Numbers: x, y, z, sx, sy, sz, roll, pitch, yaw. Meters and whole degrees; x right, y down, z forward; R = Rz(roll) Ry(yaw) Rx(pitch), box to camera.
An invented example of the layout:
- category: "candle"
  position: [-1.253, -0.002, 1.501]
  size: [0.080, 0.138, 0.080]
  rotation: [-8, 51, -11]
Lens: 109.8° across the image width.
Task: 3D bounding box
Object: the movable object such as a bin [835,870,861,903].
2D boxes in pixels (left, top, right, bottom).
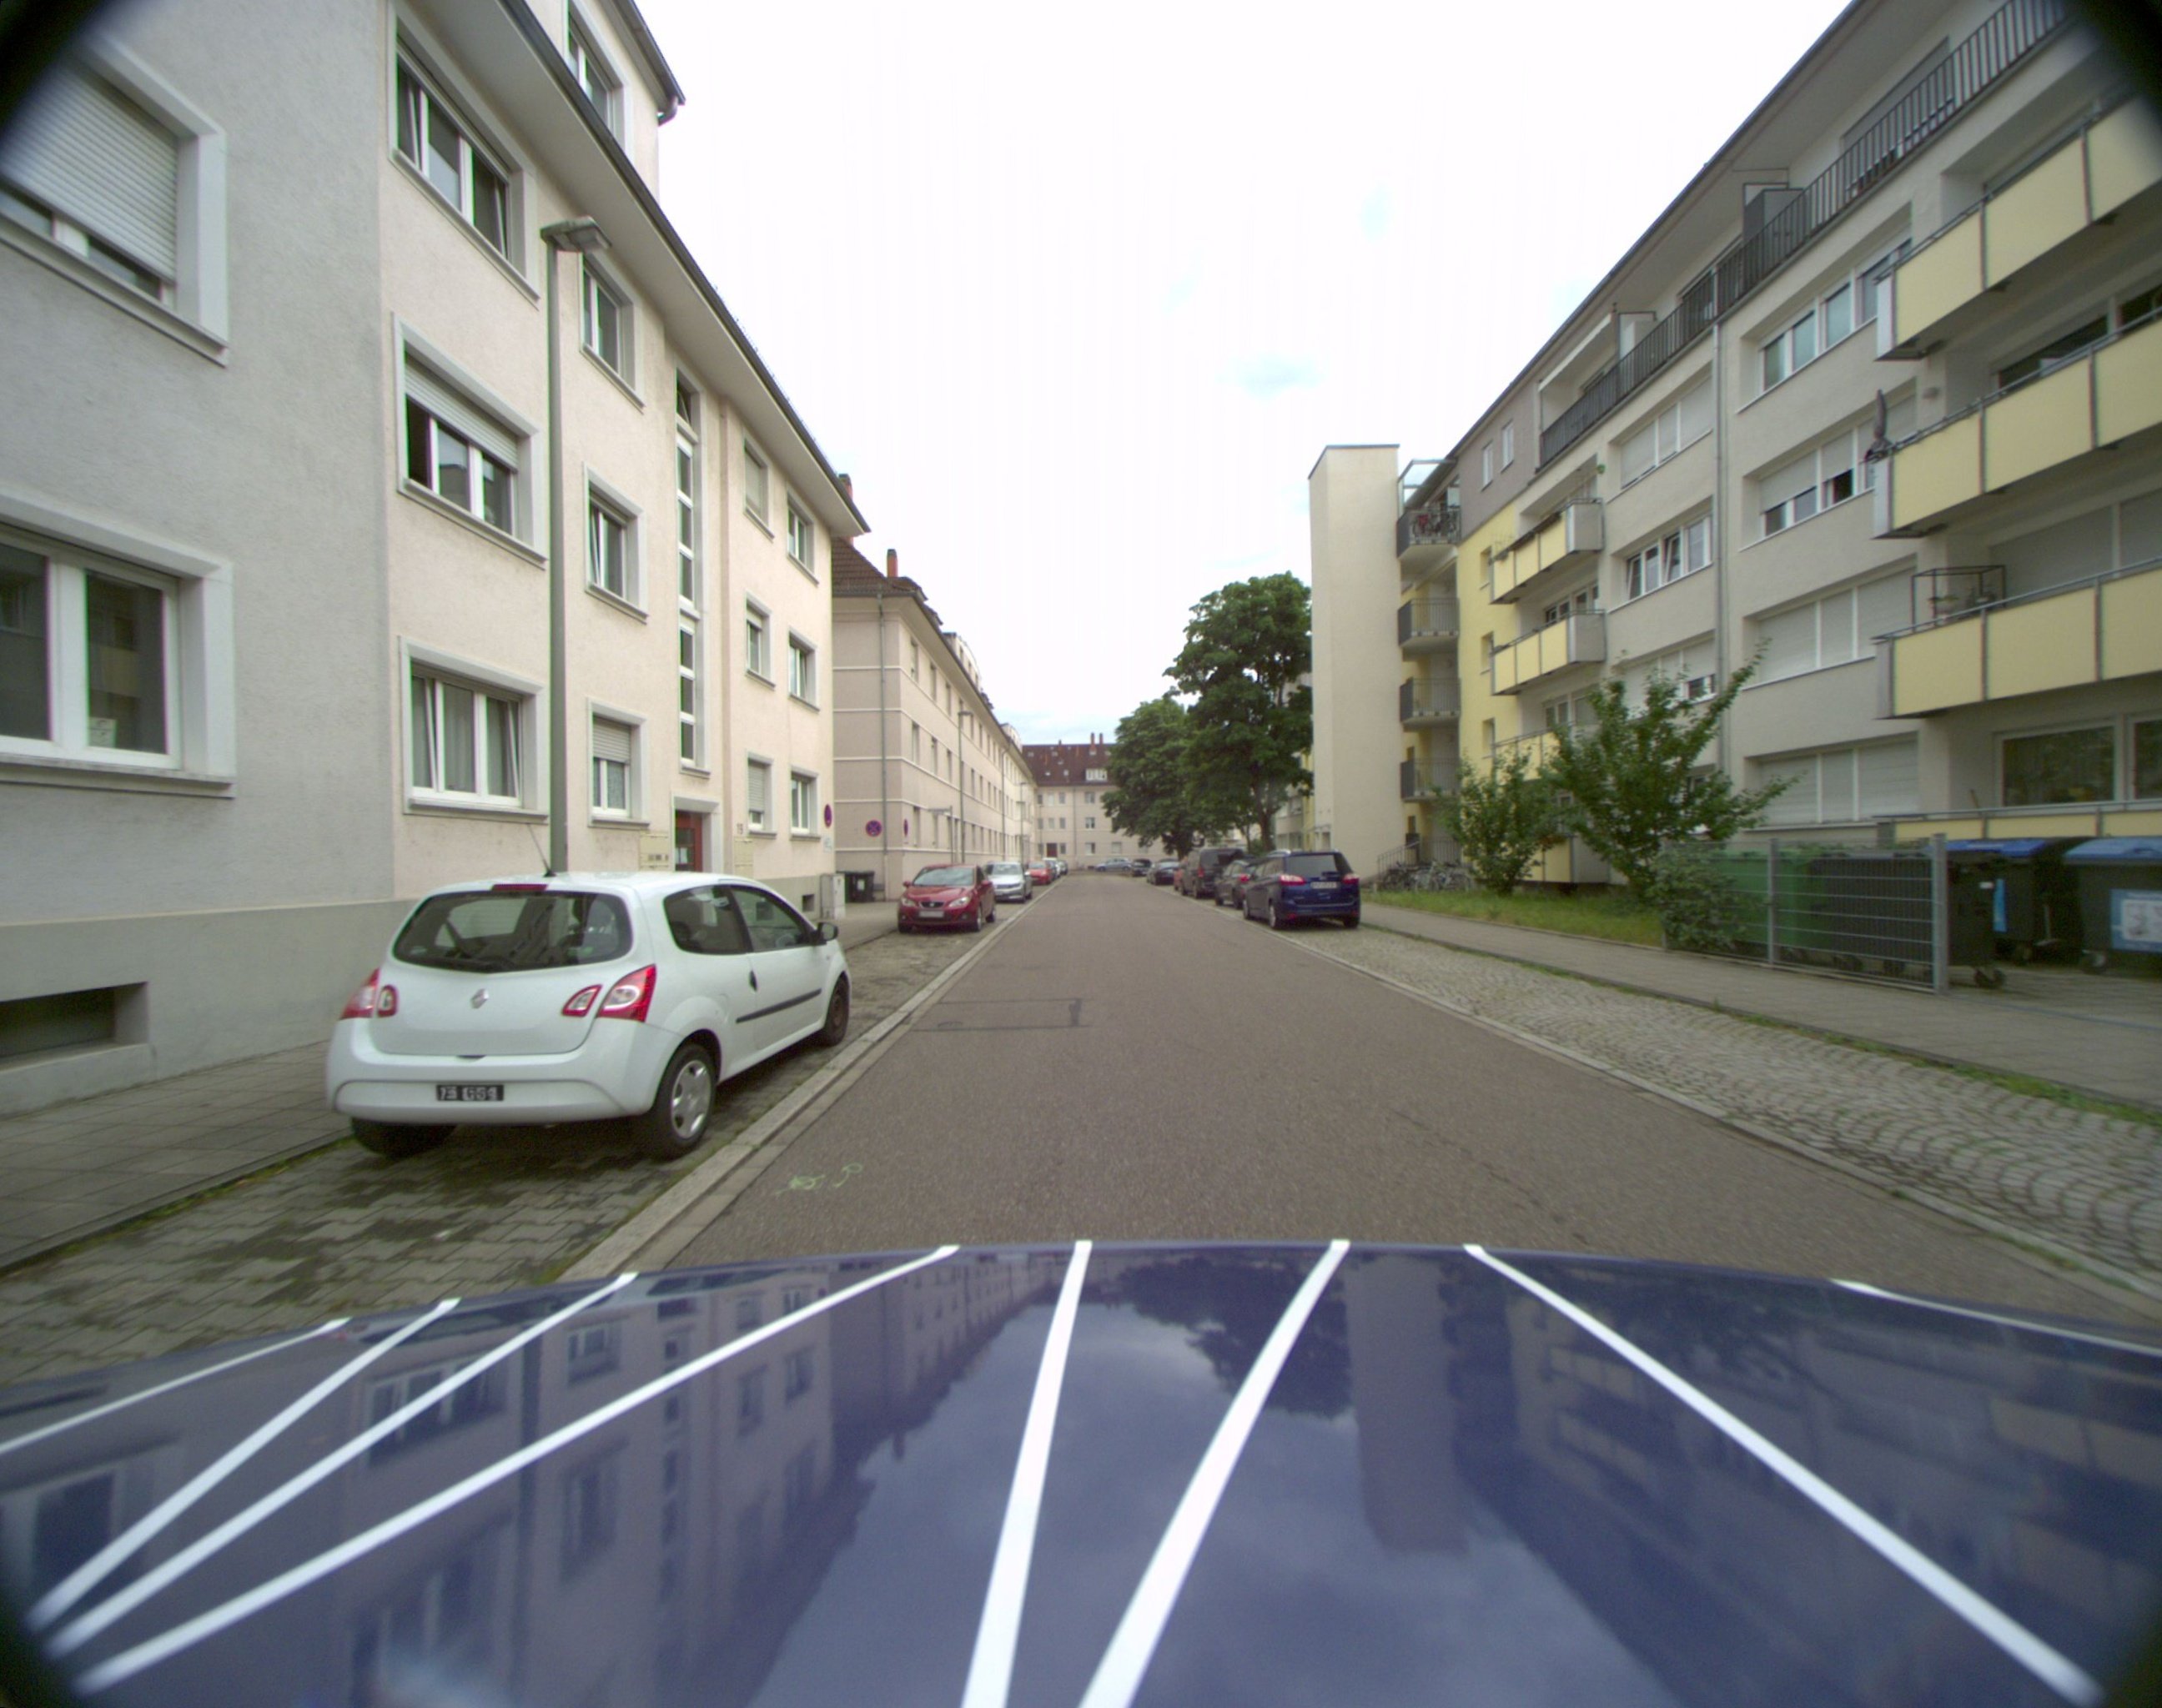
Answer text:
- category: "movable object such as a bin"
  position: [-7.560, 1.045, 24.665]
  size: [0.549, 1.036, 0.705]
  rotation: [-1, 1, 3]

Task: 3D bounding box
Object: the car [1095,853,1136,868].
- category: "car"
  position: [4.006, 0.755, 87.922]
  size: [4.545, 1.550, 1.565]
  rotation: [-1, 0, 5]

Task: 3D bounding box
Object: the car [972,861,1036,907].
- category: "car"
  position: [-2.648, 1.004, 27.039]
  size: [1.792, 1.455, 4.040]
  rotation: [-1, 0, 1]

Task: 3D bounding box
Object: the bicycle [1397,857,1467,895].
- category: "bicycle"
  position: [11.099, 0.692, 24.069]
  size: [1.855, 1.130, 0.717]
  rotation: [-1, 0, 7]

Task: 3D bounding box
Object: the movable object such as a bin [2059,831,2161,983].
- category: "movable object such as a bin"
  position: [10.845, 0.501, 7.367]
  size: [1.004, 1.438, 1.314]
  rotation: [-2, 1, 1]

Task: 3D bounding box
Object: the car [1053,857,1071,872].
- category: "car"
  position: [-1.766, 0.986, 73.089]
  size: [1.563, 1.334, 3.789]
  rotation: [-1, 0, 1]

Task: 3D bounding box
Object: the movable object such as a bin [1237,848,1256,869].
- category: "movable object such as a bin"
  position: [11.881, 0.349, 54.647]
  size: [1.184, 1.467, 0.889]
  rotation: [-1, 0, 4]

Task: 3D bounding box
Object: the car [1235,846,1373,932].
- category: "car"
  position: [4.882, 0.690, 17.302]
  size: [1.804, 1.617, 4.472]
  rotation: [-3, 0, 1]

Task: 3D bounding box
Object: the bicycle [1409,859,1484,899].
- category: "bicycle"
  position: [10.803, 0.722, 22.484]
  size: [1.857, 1.130, 0.716]
  rotation: [-1, 0, -2]

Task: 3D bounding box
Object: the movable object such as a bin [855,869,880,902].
- category: "movable object such as a bin"
  position: [-6.967, 1.019, 24.825]
  size: [0.549, 1.036, 0.705]
  rotation: [-1, 1, 3]

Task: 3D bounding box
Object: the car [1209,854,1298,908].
- category: "car"
  position: [5.158, 0.759, 23.201]
  size: [1.625, 1.437, 3.818]
  rotation: [-3, 0, -3]

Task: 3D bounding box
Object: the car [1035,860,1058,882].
- category: "car"
  position: [-2.346, 1.147, 51.872]
  size: [1.353, 1.404, 3.310]
  rotation: [-1, 0, 1]

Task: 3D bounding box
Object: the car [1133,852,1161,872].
- category: "car"
  position: [5.560, 0.673, 64.638]
  size: [2.000, 1.566, 4.209]
  rotation: [-3, 0, 1]

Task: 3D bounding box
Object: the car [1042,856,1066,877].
- category: "car"
  position: [-2.177, 0.995, 62.826]
  size: [1.764, 1.595, 3.956]
  rotation: [-1, 0, 1]

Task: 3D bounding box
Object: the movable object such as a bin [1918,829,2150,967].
- category: "movable object such as a bin"
  position: [10.928, 0.471, 8.791]
  size: [1.004, 1.438, 1.314]
  rotation: [-2, 1, 1]

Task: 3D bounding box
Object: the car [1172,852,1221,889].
- category: "car"
  position: [5.245, 0.710, 34.902]
  size: [1.625, 1.559, 3.613]
  rotation: [-1, 0, -1]

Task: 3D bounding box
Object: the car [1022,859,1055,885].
- category: "car"
  position: [-2.532, 1.049, 46.128]
  size: [1.758, 1.477, 3.773]
  rotation: [0, 0, 1]

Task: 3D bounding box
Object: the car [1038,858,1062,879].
- category: "car"
  position: [-2.324, 1.065, 57.176]
  size: [1.587, 1.500, 3.486]
  rotation: [-1, 0, 1]

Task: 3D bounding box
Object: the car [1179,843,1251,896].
- category: "car"
  position: [5.111, 0.571, 29.609]
  size: [1.891, 1.844, 4.785]
  rotation: [-2, 0, 0]

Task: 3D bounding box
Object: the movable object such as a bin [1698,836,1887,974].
- category: "movable object such as a bin"
  position: [8.426, 0.568, 9.082]
  size: [1.004, 1.492, 1.314]
  rotation: [-2, 1, 1]

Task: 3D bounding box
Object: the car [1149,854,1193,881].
- category: "car"
  position: [5.246, 0.751, 44.764]
  size: [1.919, 1.431, 4.434]
  rotation: [-3, 0, -1]

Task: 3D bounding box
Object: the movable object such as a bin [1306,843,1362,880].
- category: "movable object such as a bin"
  position: [11.096, 0.312, 33.476]
  size: [1.617, 1.515, 2.541]
  rotation: [-1, 0, 0]

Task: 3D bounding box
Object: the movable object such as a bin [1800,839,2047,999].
- category: "movable object such as a bin"
  position: [8.375, 0.595, 7.648]
  size: [1.004, 1.438, 1.314]
  rotation: [-2, 1, 1]

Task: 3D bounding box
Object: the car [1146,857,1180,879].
- category: "car"
  position: [5.370, 0.900, 50.130]
  size: [1.765, 1.257, 4.209]
  rotation: [-3, 0, 1]

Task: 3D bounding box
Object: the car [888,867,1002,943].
- category: "car"
  position: [-2.869, 1.028, 16.877]
  size: [1.758, 1.401, 3.936]
  rotation: [-1, 0, 1]

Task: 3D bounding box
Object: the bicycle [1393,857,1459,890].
- category: "bicycle"
  position: [11.227, 0.624, 24.769]
  size: [1.855, 1.014, 0.671]
  rotation: [-1, 0, 7]

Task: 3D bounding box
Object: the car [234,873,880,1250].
- category: "car"
  position: [-2.871, 0.989, 5.329]
  size: [1.788, 1.590, 3.805]
  rotation: [-1, 0, 2]
